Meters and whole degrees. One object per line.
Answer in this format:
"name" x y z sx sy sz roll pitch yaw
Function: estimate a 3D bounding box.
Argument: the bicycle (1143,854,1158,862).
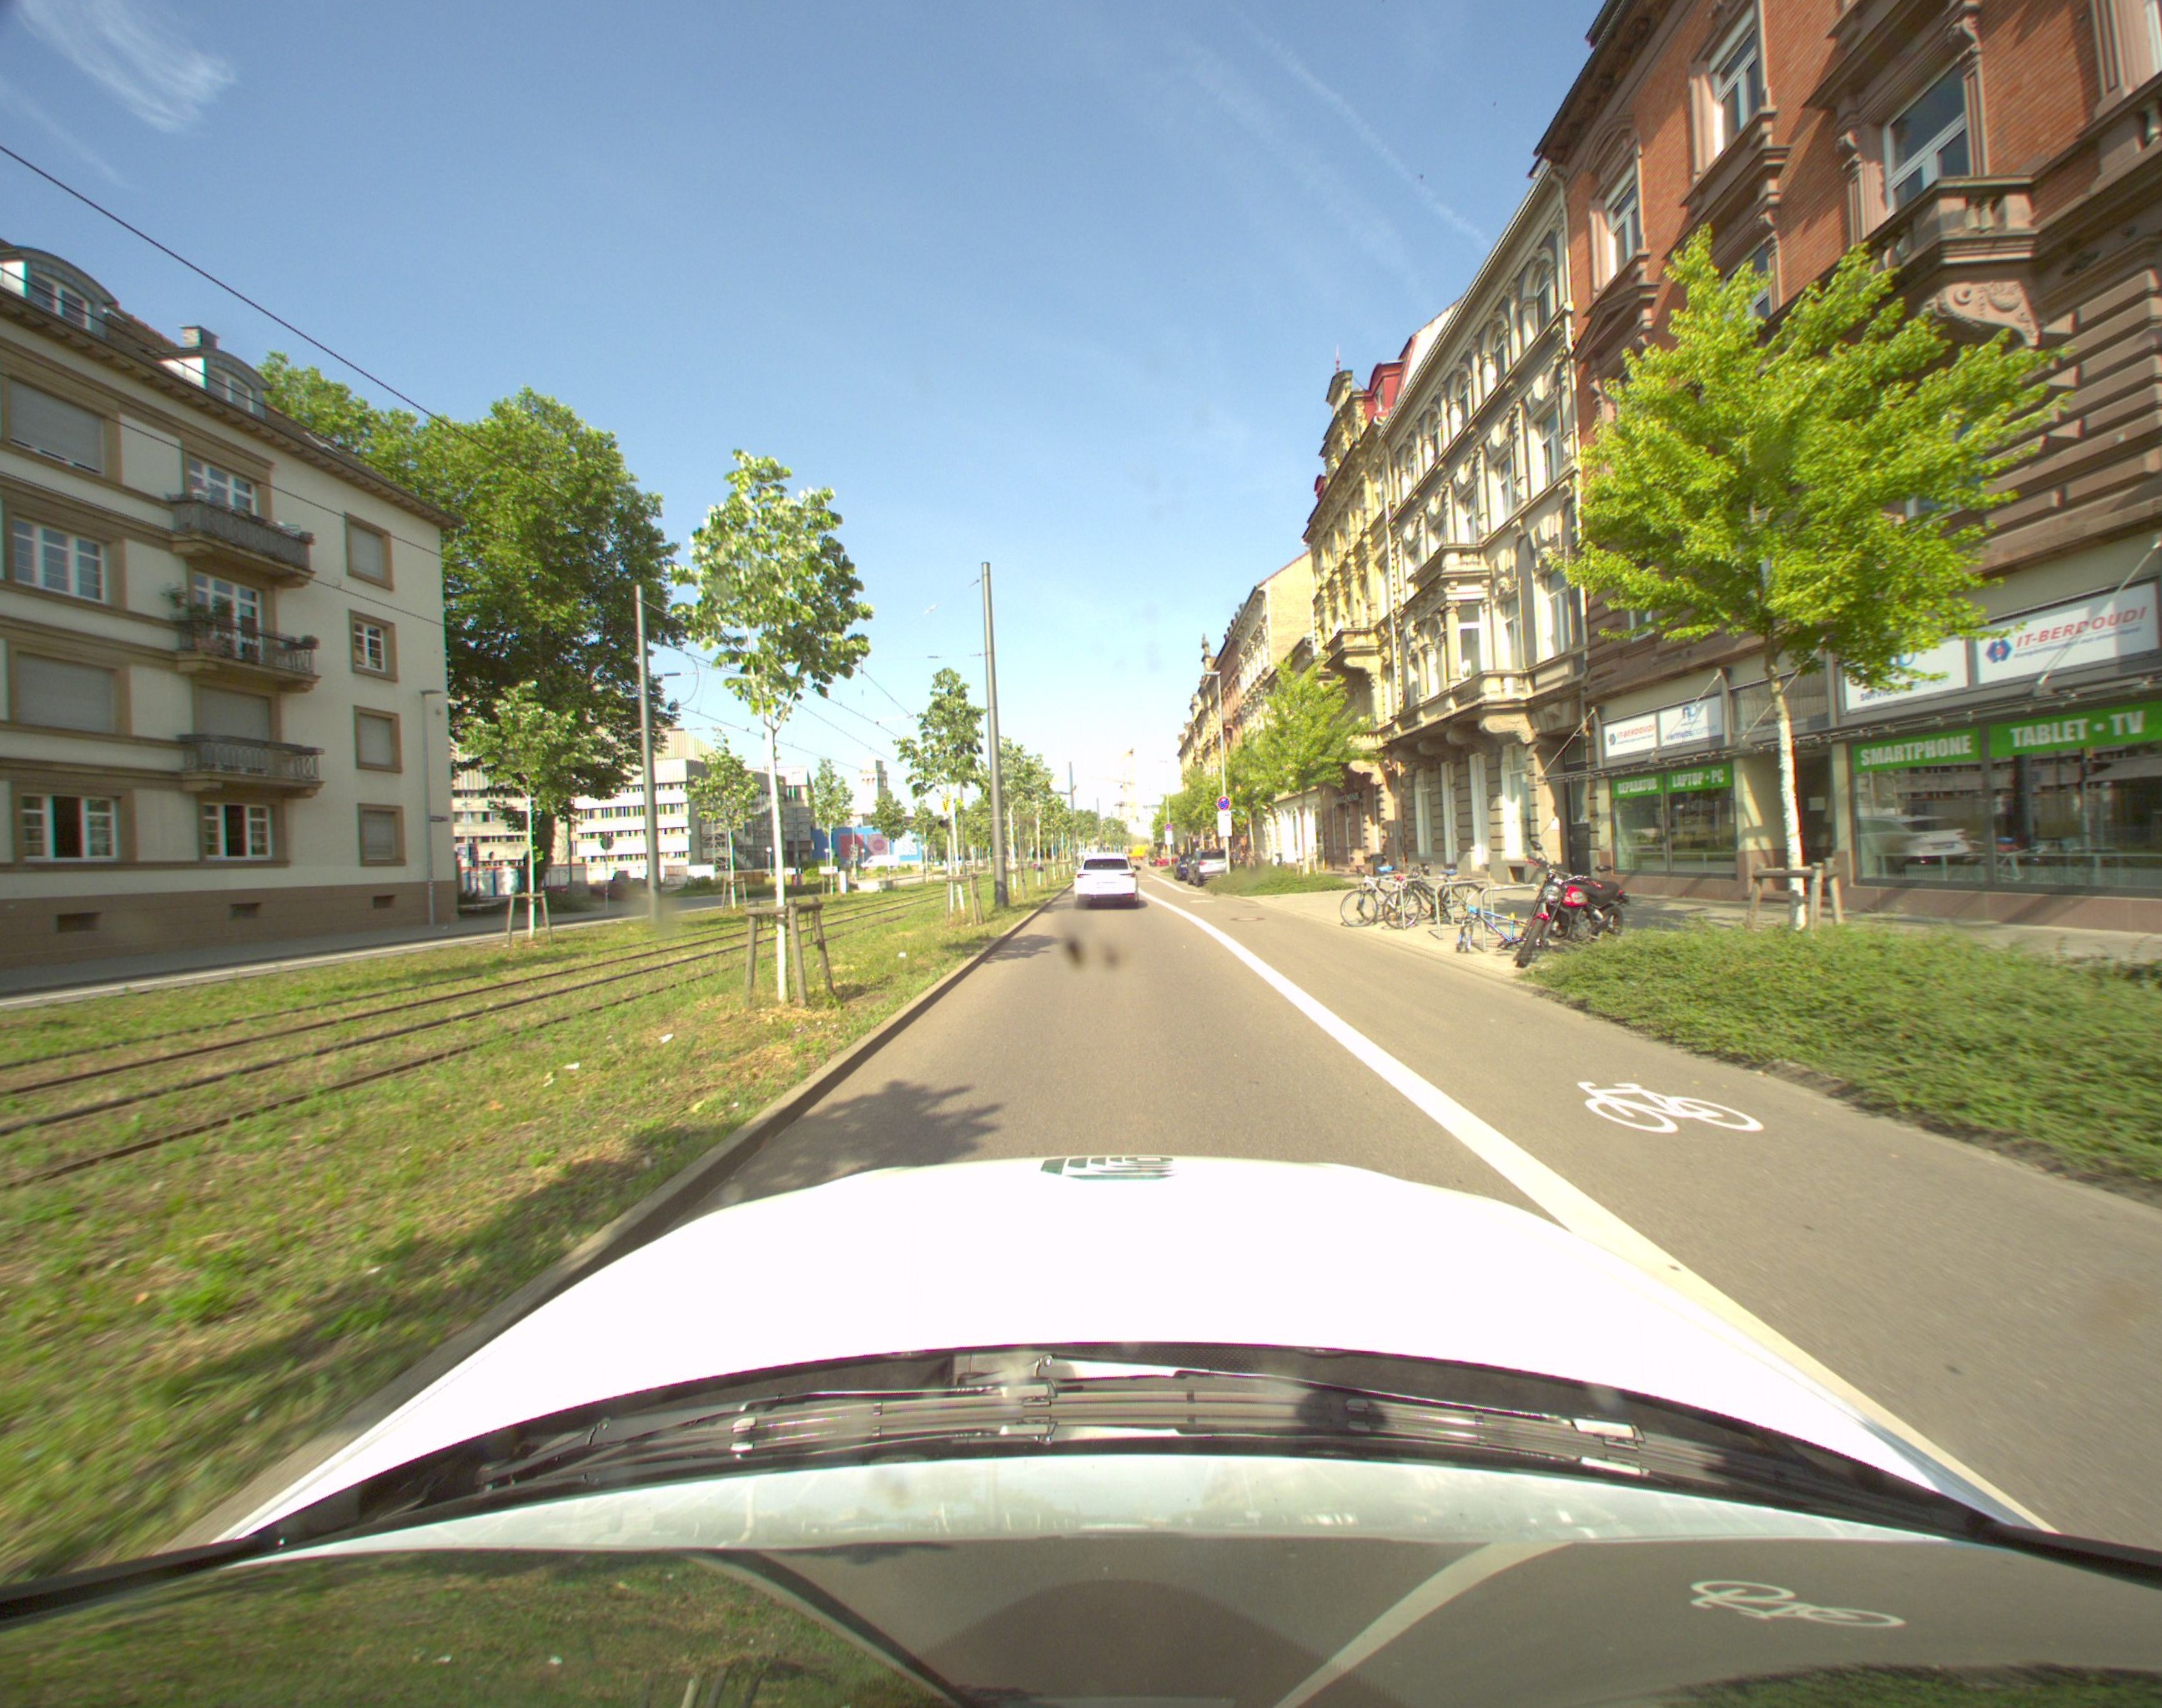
"bicycle" 9.407 0.538 110.278 1.926 0.986 0.471 -5 0 3

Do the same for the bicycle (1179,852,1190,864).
"bicycle" 9.614 0.353 75.749 0.594 1.122 1.923 -3 0 -4

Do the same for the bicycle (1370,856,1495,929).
"bicycle" 6.030 0.644 14.023 1.803 1.096 0.671 -4 0 -4

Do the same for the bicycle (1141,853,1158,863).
"bicycle" 9.157 0.573 109.052 2.229 1.104 0.589 -5 0 3

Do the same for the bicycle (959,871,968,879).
"bicycle" -15.427 2.794 107.065 0.659 0.961 2.079 -4 -1 2

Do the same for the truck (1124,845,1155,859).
"truck" 10.150 -0.325 141.281 2.229 2.318 5.827 -3 0 -34

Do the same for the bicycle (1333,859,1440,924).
"bicycle" 5.663 0.698 15.127 1.779 1.054 0.373 -4 0 0

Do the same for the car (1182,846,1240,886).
"car" 5.803 0.522 36.807 1.764 1.588 4.245 -4 0 -1

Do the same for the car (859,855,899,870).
"car" -36.101 1.500 145.482 6.895 2.638 2.498 0 -1 -19

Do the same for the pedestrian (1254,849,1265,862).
"pedestrian" 12.695 0.083 57.958 0.569 0.855 0.457 -5 0 -4

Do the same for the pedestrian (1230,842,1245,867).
"pedestrian" 11.278 0.037 58.728 0.821 1.696 0.792 -5 0 -2

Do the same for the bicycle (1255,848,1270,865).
"bicycle" 12.249 0.170 54.914 0.450 1.083 1.444 -3 0 -7

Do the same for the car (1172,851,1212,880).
"car" 6.020 0.598 44.512 1.729 1.396 4.719 -4 0 4

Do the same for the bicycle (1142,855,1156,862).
"bicycle" 9.560 0.624 114.525 1.924 0.945 0.441 -5 0 6

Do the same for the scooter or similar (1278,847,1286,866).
"scooter or similar" 12.371 0.125 50.124 0.287 1.134 1.091 -3 0 8

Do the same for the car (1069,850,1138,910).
"car" 0.699 0.706 24.405 1.810 1.590 4.409 -2 0 2

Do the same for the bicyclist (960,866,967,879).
"bicyclist" -15.459 2.418 107.125 0.644 1.736 0.919 -4 -1 2

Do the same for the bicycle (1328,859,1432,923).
"bicycle" 5.682 0.700 15.525 1.779 1.054 0.373 -4 0 0

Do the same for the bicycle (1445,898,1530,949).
"bicycle" 5.591 0.951 11.230 0.954 0.609 0.361 -4 0 3

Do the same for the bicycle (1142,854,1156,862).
"bicycle" 9.494 0.592 114.050 1.924 1.013 0.441 -5 0 6

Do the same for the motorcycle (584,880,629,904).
"motorcycle" -29.427 2.339 50.483 2.307 1.369 0.809 -3 0 -35

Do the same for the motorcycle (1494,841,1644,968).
"motorcycle" 5.968 0.567 9.914 2.050 1.287 0.698 -5 1 -34
